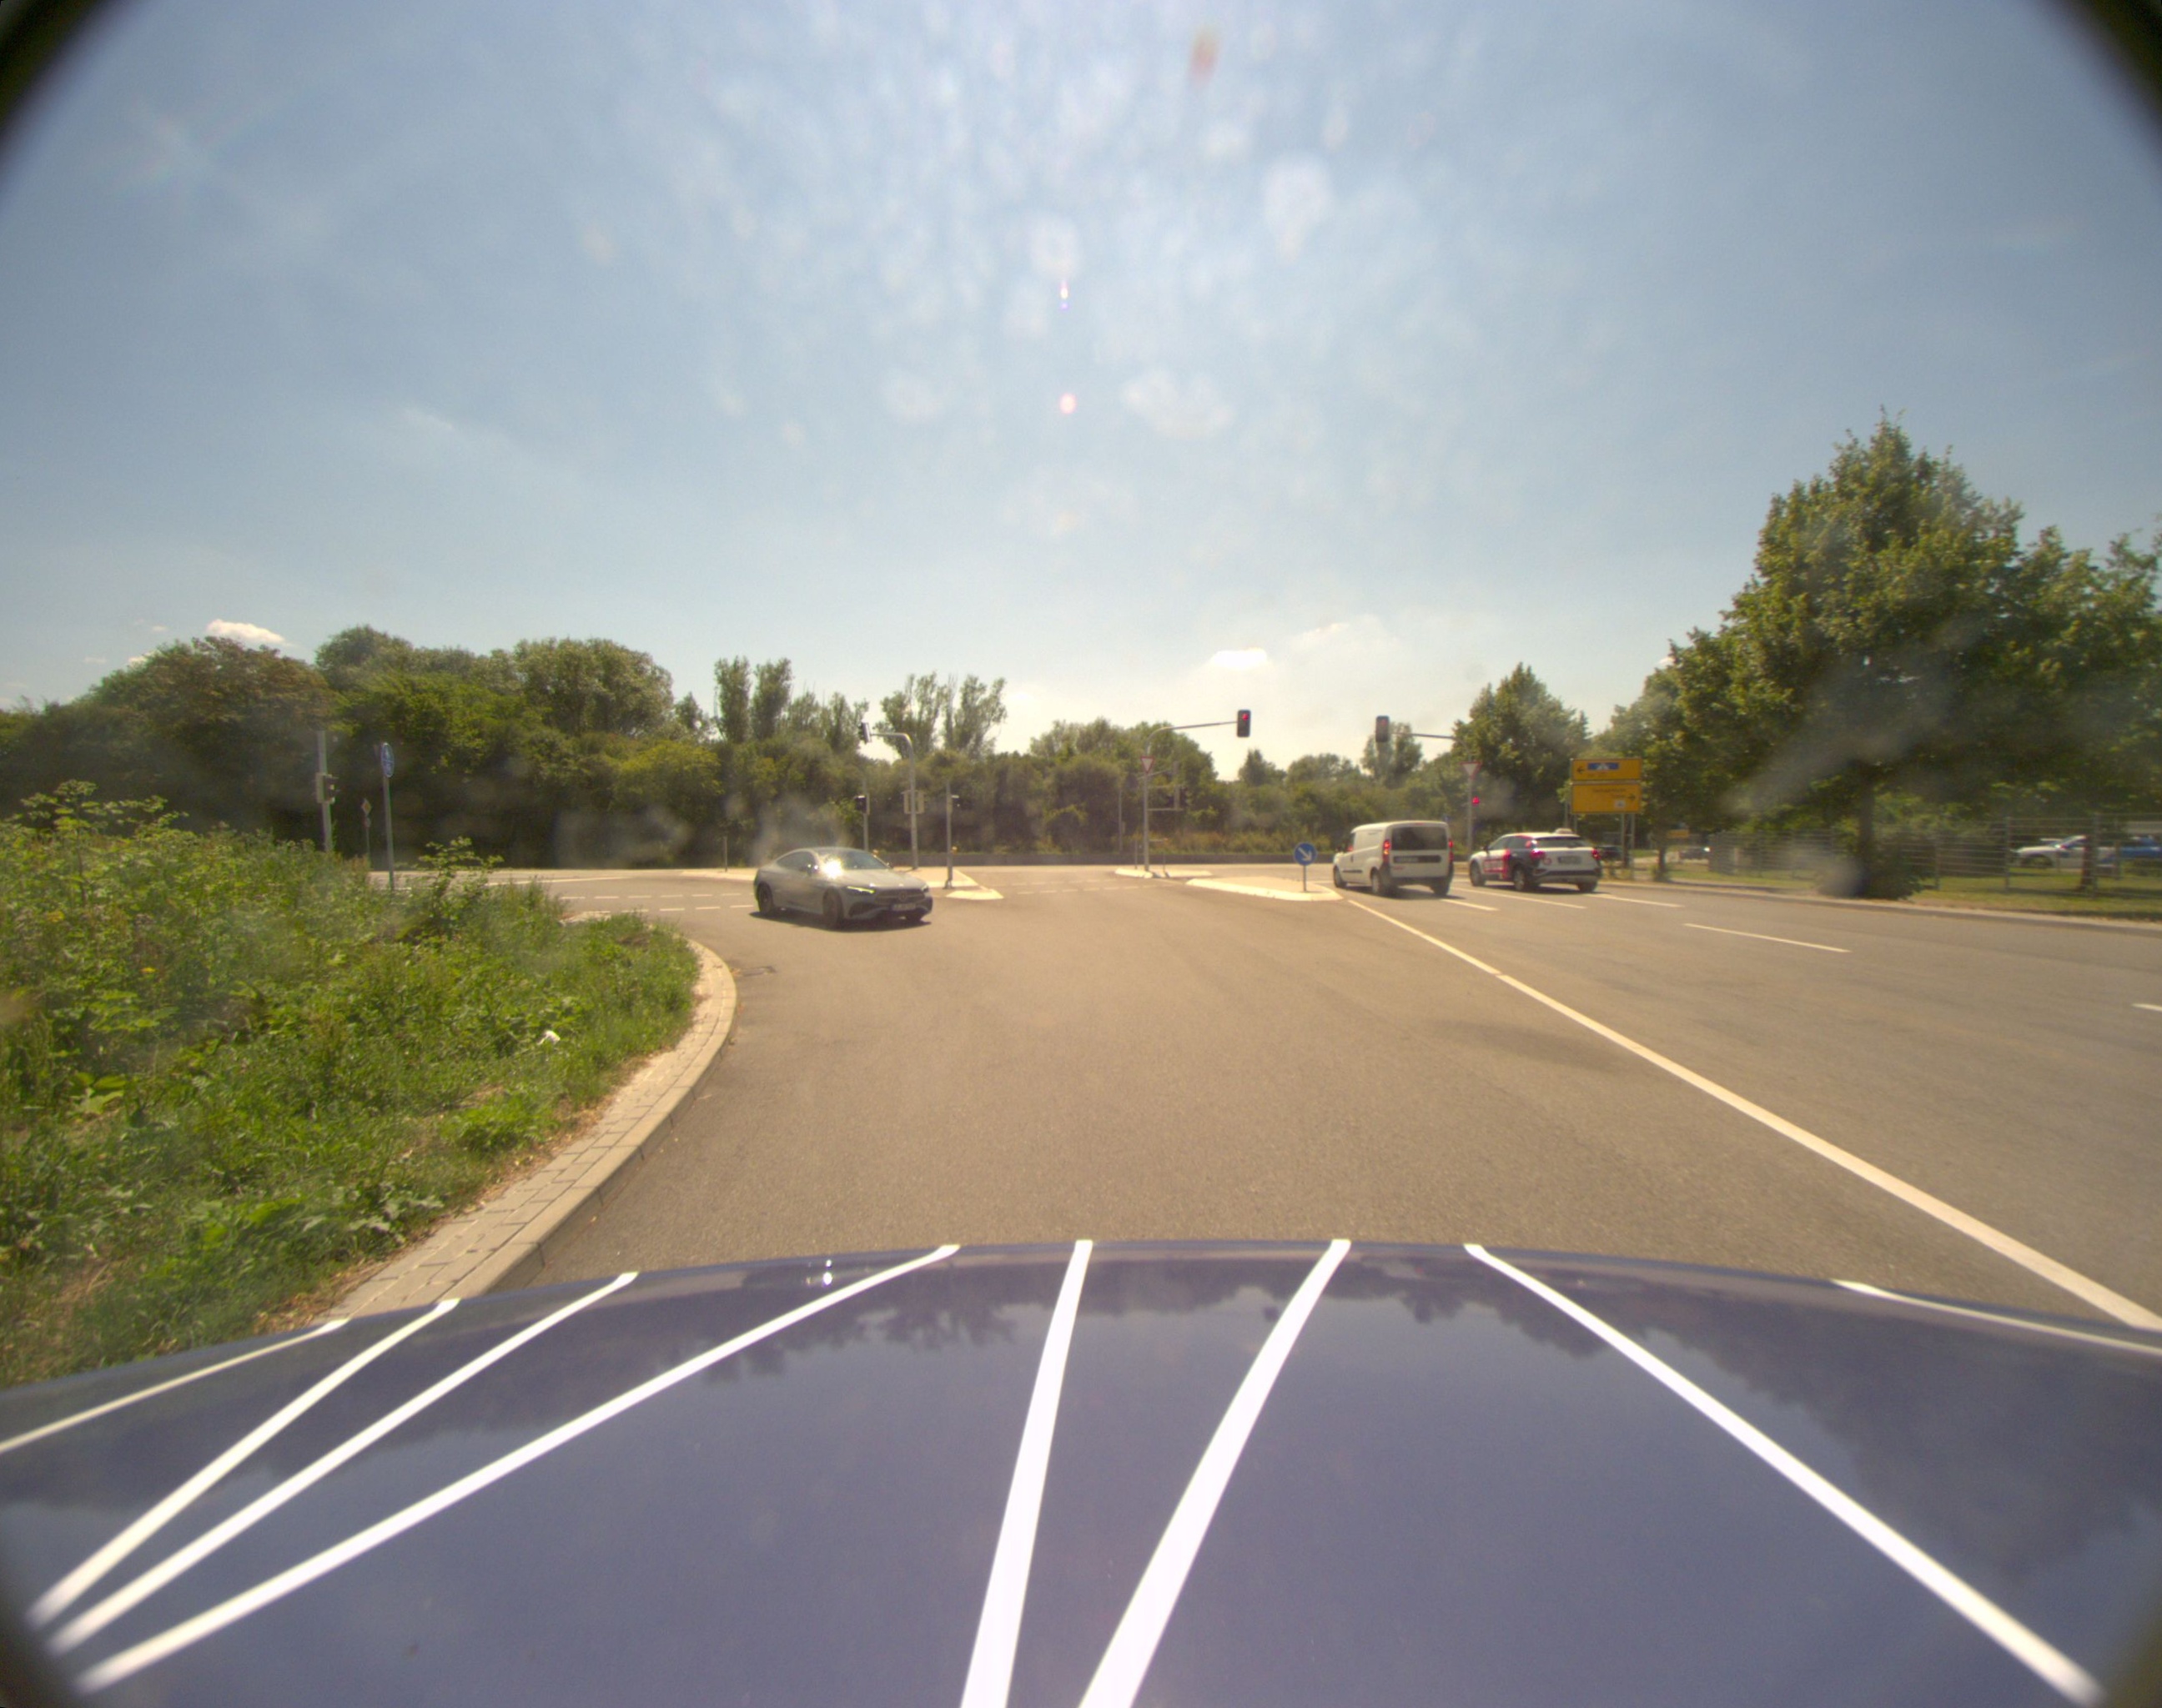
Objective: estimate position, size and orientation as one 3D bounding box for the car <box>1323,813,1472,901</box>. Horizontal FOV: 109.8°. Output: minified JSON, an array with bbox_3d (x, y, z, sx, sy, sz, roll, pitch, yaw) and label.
[{"bbox_3d":[8.262,-0.026,20.397,1.998,1.932,4.869,-4,2,2],"label":"car"}]

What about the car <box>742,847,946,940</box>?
[{"bbox_3d":[-4.845,0.657,15.187,4.468,1.434,1.926,2,4,43],"label":"car"}]

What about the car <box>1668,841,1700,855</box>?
[{"bbox_3d":[67.540,-0.676,85.173,1.735,1.433,4.400,2,0,25],"label":"car"}]

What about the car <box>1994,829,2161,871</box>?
[{"bbox_3d":[43.088,-0.197,32.935,3.988,1.696,2.004,1,1,31],"label":"car"}]

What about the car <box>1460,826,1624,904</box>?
[{"bbox_3d":[11.901,0.194,19.957,1.998,1.698,3.863,-4,2,2],"label":"car"}]

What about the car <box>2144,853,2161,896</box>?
[{"bbox_3d":[38.646,0.730,24.853,3.988,1.477,2.004,1,0,31],"label":"car"}]
